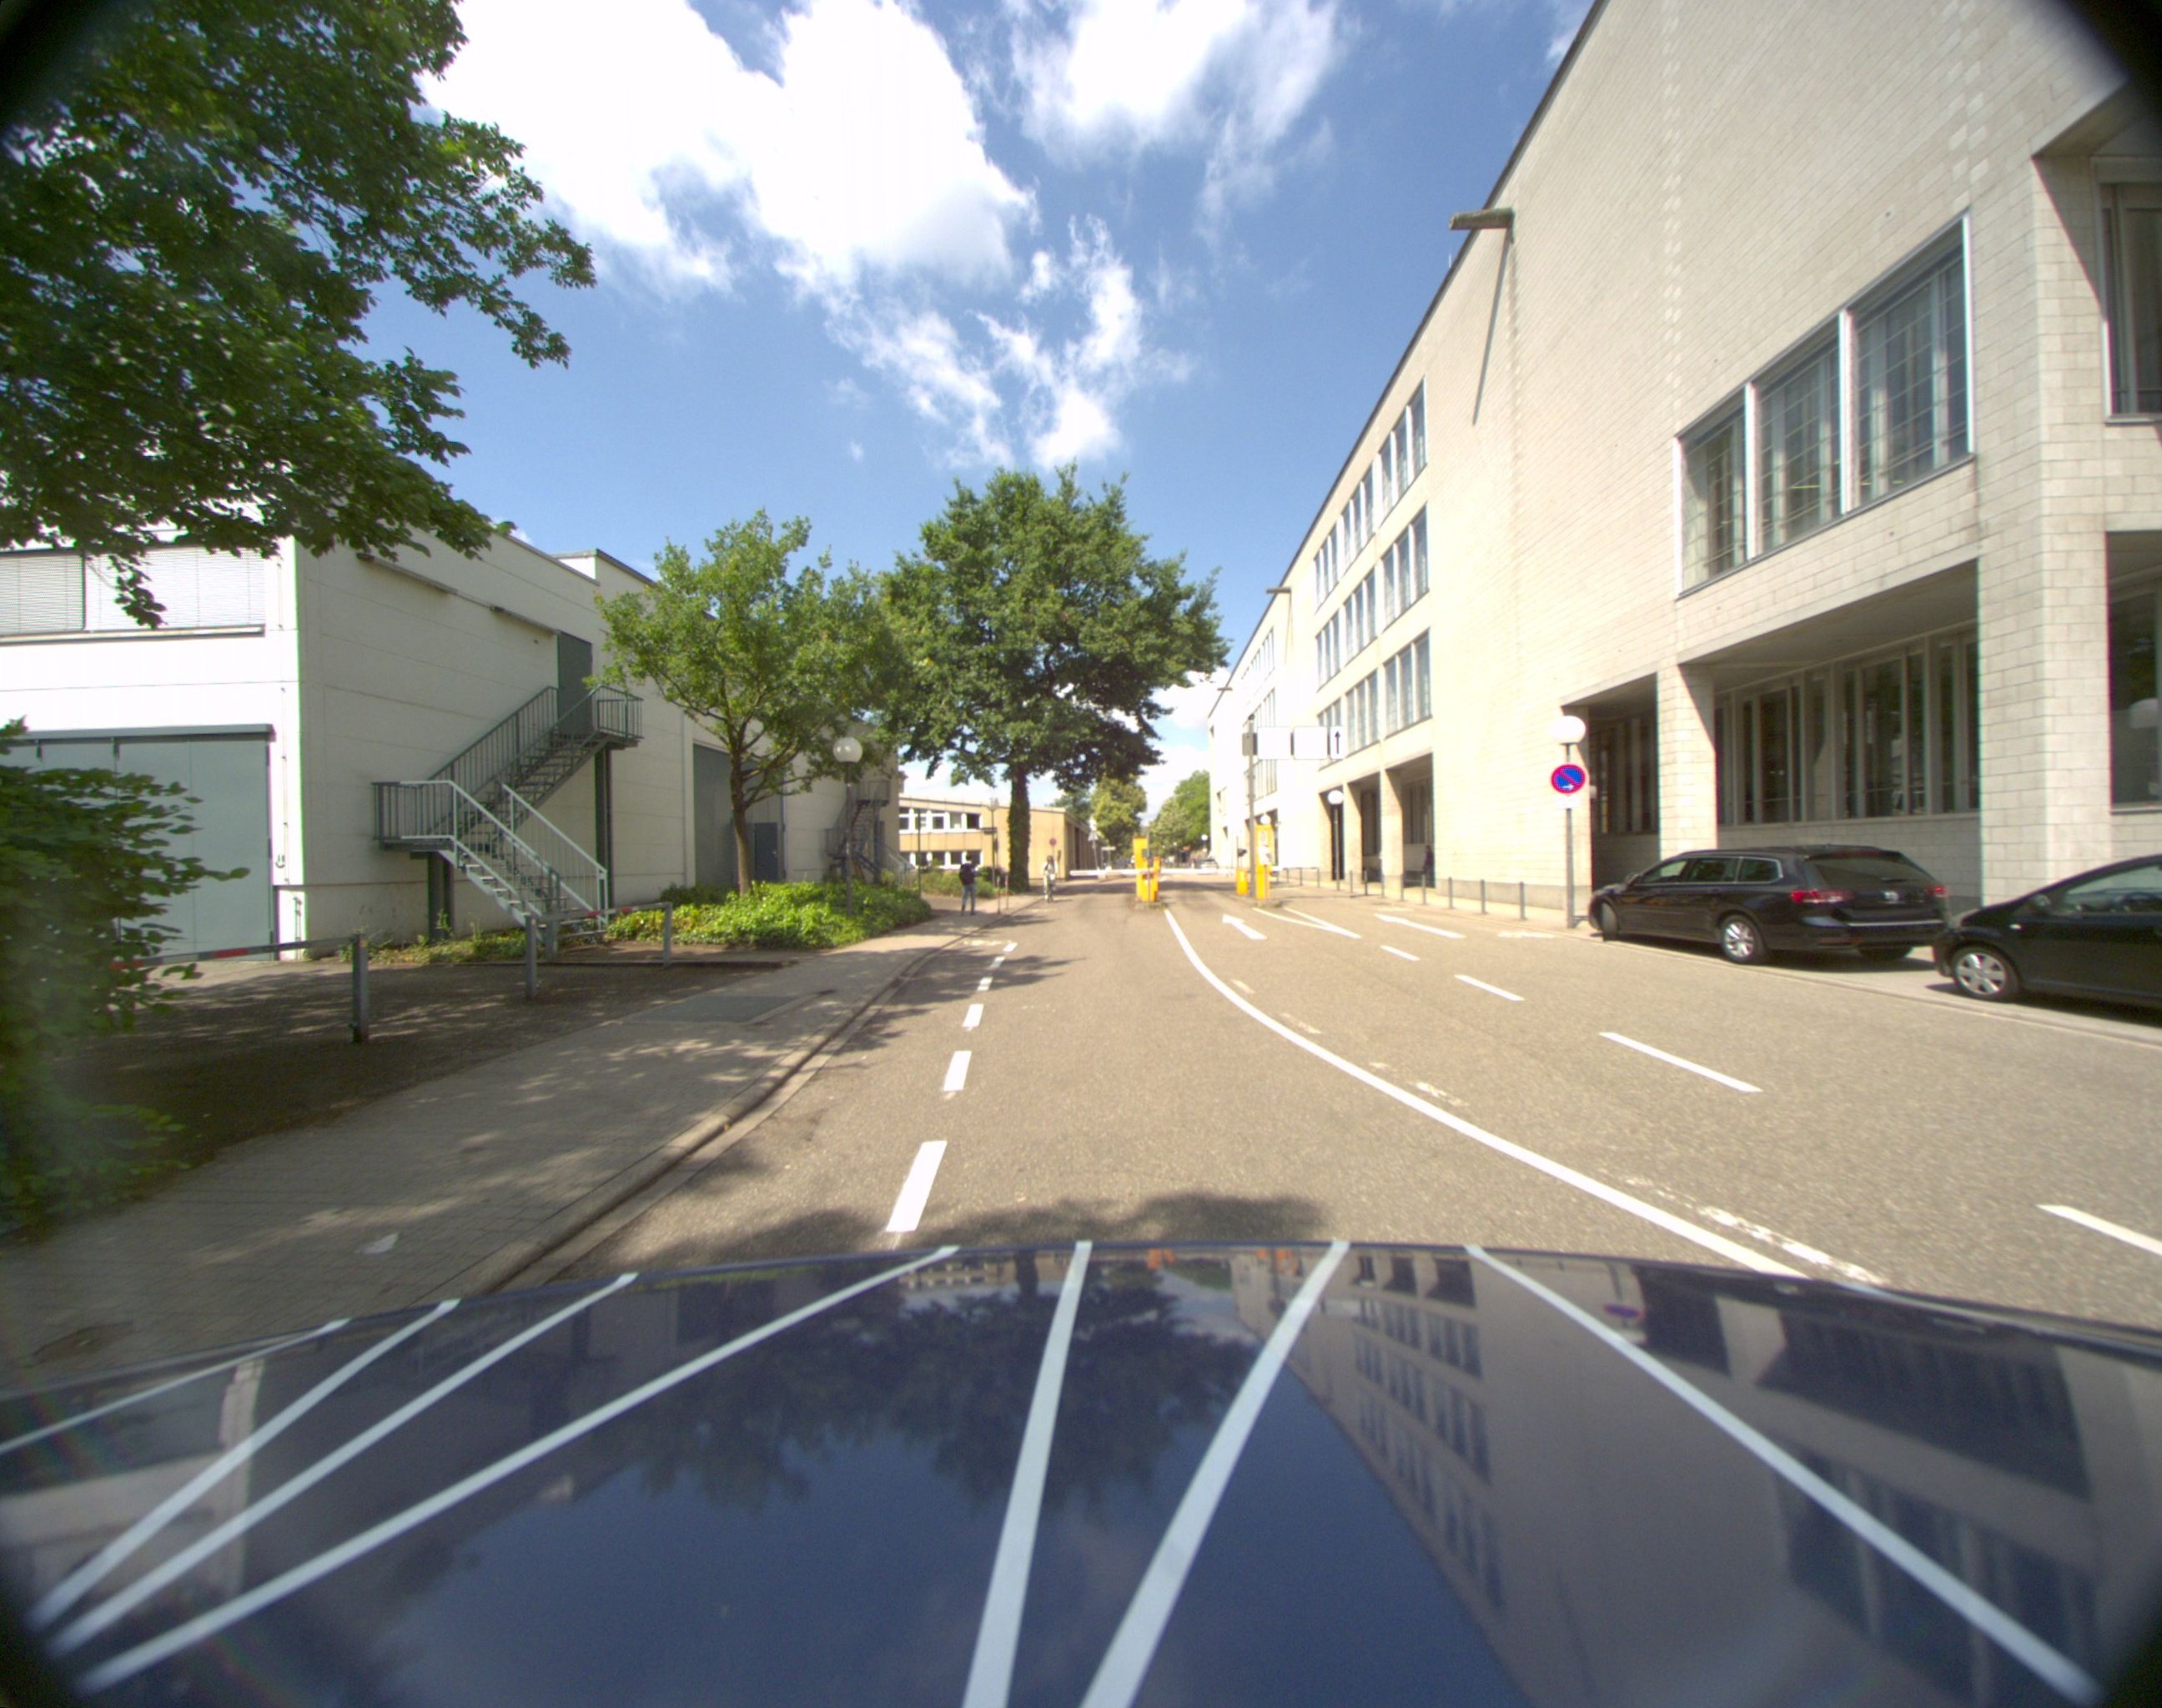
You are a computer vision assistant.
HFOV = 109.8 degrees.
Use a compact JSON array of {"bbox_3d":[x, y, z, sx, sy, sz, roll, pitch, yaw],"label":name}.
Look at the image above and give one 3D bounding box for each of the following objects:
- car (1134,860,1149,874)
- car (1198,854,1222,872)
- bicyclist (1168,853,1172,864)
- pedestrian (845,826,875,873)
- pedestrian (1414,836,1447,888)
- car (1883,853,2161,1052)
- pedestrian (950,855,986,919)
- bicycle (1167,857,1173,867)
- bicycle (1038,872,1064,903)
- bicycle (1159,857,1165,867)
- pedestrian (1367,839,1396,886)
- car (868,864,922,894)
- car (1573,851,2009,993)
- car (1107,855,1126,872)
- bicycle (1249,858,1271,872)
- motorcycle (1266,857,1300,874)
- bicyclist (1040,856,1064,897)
[{"bbox_3d":[8.646,1.833,108.537,1.998,1.805,4.002,-1,0,5],"label":"car"},{"bbox_3d":[12.016,0.828,71.222,1.730,1.526,4.406,-3,0,4],"label":"car"},{"bbox_3d":[13.952,0.682,118.914,0.609,1.754,0.697,-2,1,2],"label":"bicyclist"},{"bbox_3d":[-9.486,-0.186,32.626,0.929,2.002,0.950,-1,0,7],"label":"pedestrian"},{"bbox_3d":[14.006,0.316,30.457,0.850,2.002,1.066,-1,0,2],"label":"pedestrian"},{"bbox_3d":[9.178,0.766,6.100,1.642,1.458,3.708,-3,0,4],"label":"car"},{"bbox_3d":[-3.038,0.870,20.496,0.741,1.665,1.256,-1,0,1],"label":"pedestrian"},{"bbox_3d":[13.945,1.229,118.927,0.639,1.485,1.936,-2,0,2],"label":"bicycle"},{"bbox_3d":[-1.069,1.198,27.481,0.781,1.042,1.913,-1,0,2],"label":"bicycle"},{"bbox_3d":[12.621,1.252,118.316,0.797,1.485,2.062,-2,0,2],"label":"bicycle"},{"bbox_3d":[13.032,0.347,33.002,0.850,2.002,1.066,-1,0,2],"label":"pedestrian"},{"bbox_3d":[-10.231,1.339,42.147,1.671,1.468,4.183,-1,0,4],"label":"car"},{"bbox_3d":[9.274,0.751,10.662,1.863,1.458,4.720,-3,0,4],"label":"car"},{"bbox_3d":[3.427,0.922,72.991,1.760,1.559,3.818,0,0,3],"label":"car"},{"bbox_3d":[14.568,0.868,61.845,1.643,1.080,0.608,-2,0,-2],"label":"bicycle"},{"bbox_3d":[13.999,0.786,52.695,2.172,1.131,0.774,-1,0,-6],"label":"motorcycle"},{"bbox_3d":[-1.049,0.805,27.456,0.780,1.478,0.696,-1,0,2],"label":"bicyclist"}]
